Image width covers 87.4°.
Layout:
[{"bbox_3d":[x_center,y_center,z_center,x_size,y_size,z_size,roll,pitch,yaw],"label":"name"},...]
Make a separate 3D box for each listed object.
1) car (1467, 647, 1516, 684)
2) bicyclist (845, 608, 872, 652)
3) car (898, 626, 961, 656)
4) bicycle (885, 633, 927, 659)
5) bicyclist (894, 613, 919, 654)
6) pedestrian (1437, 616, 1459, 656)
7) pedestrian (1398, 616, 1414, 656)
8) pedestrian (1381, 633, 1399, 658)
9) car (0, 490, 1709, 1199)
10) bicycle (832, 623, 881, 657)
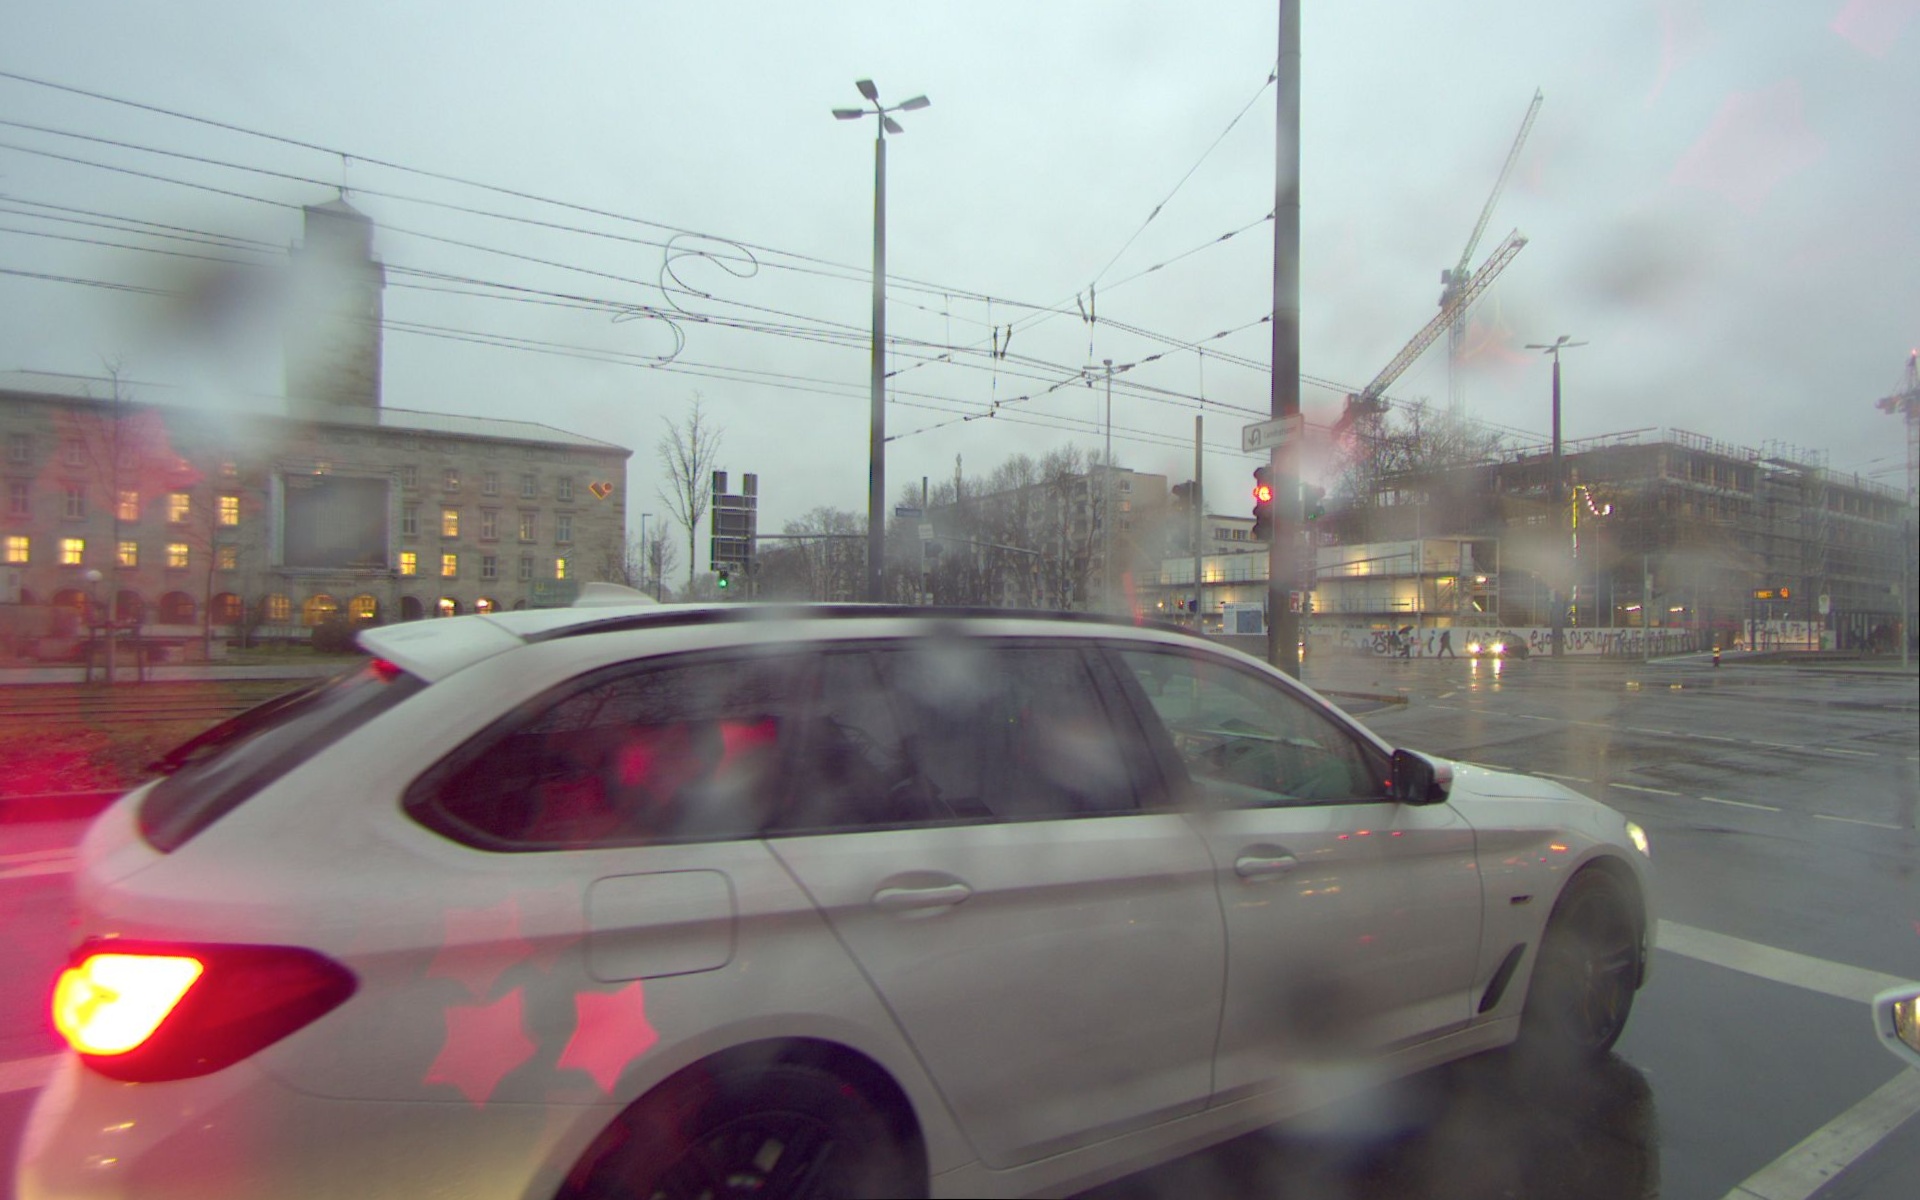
[{"bbox_3d":[31.366,3.831,59.239,1.736,2.040,3.980,-1,-2,41],"label":"car"},{"bbox_3d":[-4.321,1.276,42.645,0.714,1.863,0.986,2,-2,-39],"label":"bicyclist"},{"bbox_3d":[-1.831,2.426,59.488,1.978,1.706,3.965,1,-2,-33],"label":"car"},{"bbox_3d":[-2.304,1.964,42.833,0.612,1.046,2.356,2,-2,-36],"label":"bicycle"},{"bbox_3d":[-2.295,1.414,42.852,0.612,1.719,1.026,2,-2,-36],"label":"bicyclist"},{"bbox_3d":[25.223,1.876,51.917,0.741,2.040,0.785,2,-3,-40],"label":"pedestrian"},{"bbox_3d":[23.314,1.881,52.499,0.635,2.040,0.503,4,-4,-40],"label":"pedestrian"},{"bbox_3d":[26.337,2.780,61.570,0.781,1.549,0.646,1,-2,-7],"label":"pedestrian"},{"bbox_3d":[0.144,0.706,3.155,4.868,1.540,1.900,2,-2,-32],"label":"car"},{"bbox_3d":[-4.434,1.694,42.818,0.714,1.380,2.809,2,-3,-38],"label":"bicycle"}]
